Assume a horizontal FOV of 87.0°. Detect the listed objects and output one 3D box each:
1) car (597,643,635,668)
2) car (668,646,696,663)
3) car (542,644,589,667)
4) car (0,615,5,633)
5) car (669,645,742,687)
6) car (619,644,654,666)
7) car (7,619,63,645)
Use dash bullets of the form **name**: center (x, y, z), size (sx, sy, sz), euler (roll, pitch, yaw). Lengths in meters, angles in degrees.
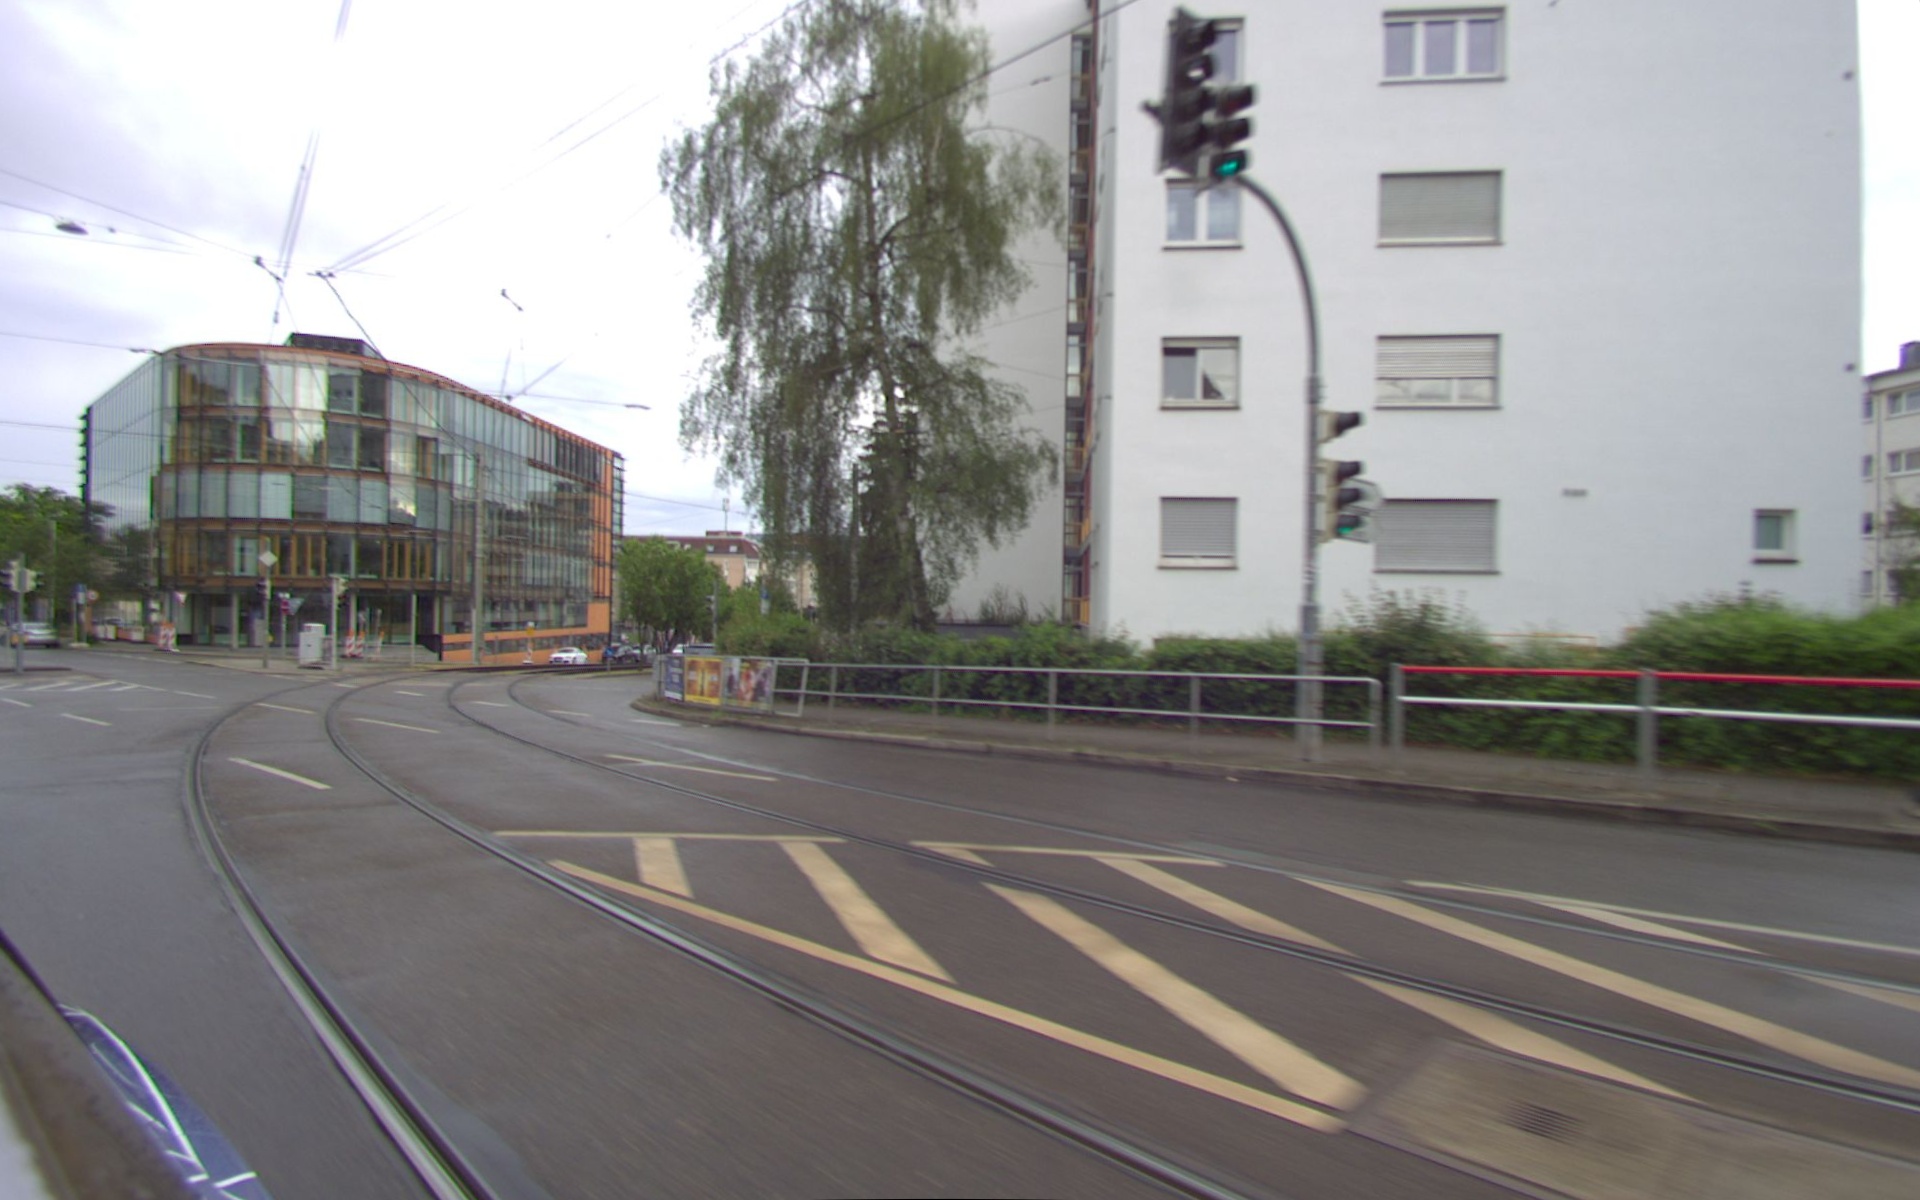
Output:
- **car**: center (-29.516, 4.746, 86.855), size (1.891, 1.907, 3.999), euler (0, 0, 1)
- **car**: center (-29.333, 5.760, 106.873), size (1.765, 1.520, 3.999), euler (0, 0, 1)
- **car**: center (-29.587, 4.134, 76.007), size (1.891, 1.507, 3.999), euler (0, 0, 1)
- **car**: center (-81.342, 1.991, 84.464), size (3.996, 1.408, 1.857), euler (1, -1, 40)
- **car**: center (-9.935, 2.585, 39.847), size (1.847, 1.472, 4.493), euler (2, -3, -2)
- **car**: center (-29.426, 4.970, 92.277), size (1.891, 1.763, 3.999), euler (0, 0, 1)
- **car**: center (-52.254, 1.775, 57.151), size (4.643, 1.405, 1.838), euler (-1, -2, 41)
